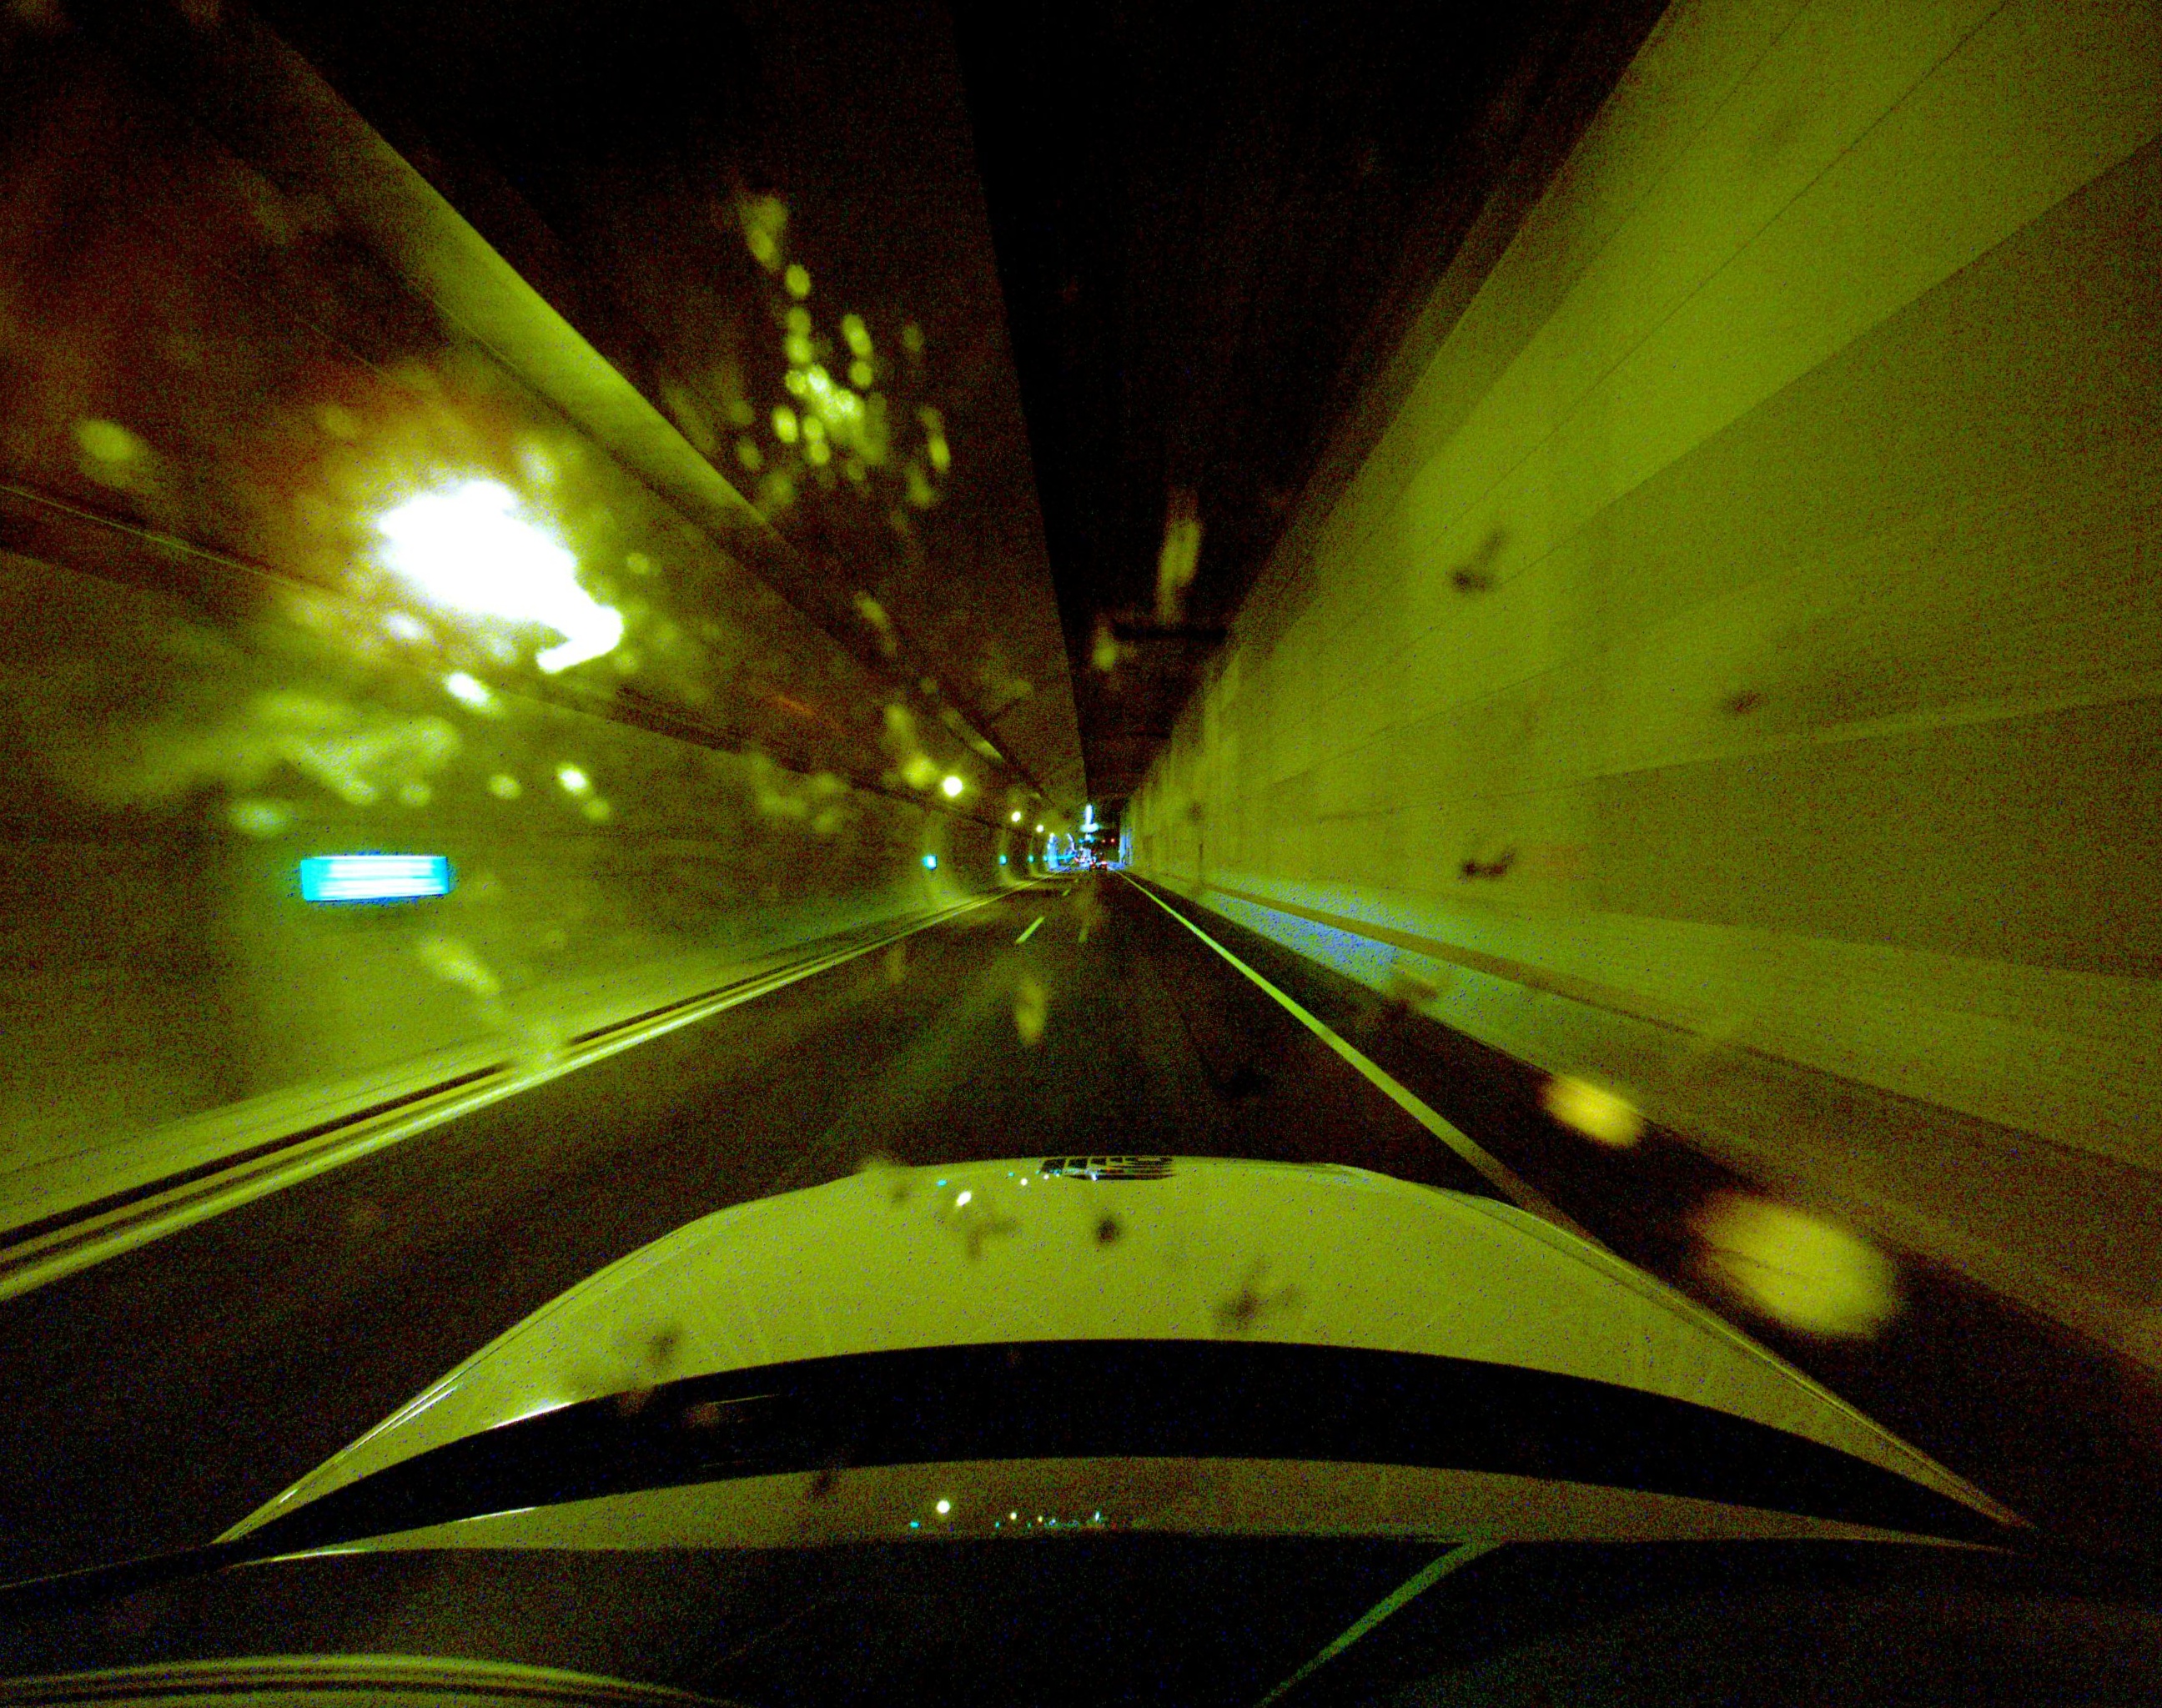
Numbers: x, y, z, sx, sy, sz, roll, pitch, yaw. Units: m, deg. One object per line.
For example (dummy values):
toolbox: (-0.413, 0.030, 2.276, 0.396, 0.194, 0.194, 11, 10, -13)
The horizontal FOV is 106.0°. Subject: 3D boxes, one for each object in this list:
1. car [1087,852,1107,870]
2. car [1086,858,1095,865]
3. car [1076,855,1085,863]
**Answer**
car: (1.703, 0.682, 85.631, 1.940, 1.794, 4.001, -1, 0, 1)
car: (2.348, 1.731, 195.760, 1.922, 1.687, 4.005, -1, 0, 4)
car: (-0.096, 1.038, 166.665, 1.924, 1.687, 4.000, -1, 0, 1)
